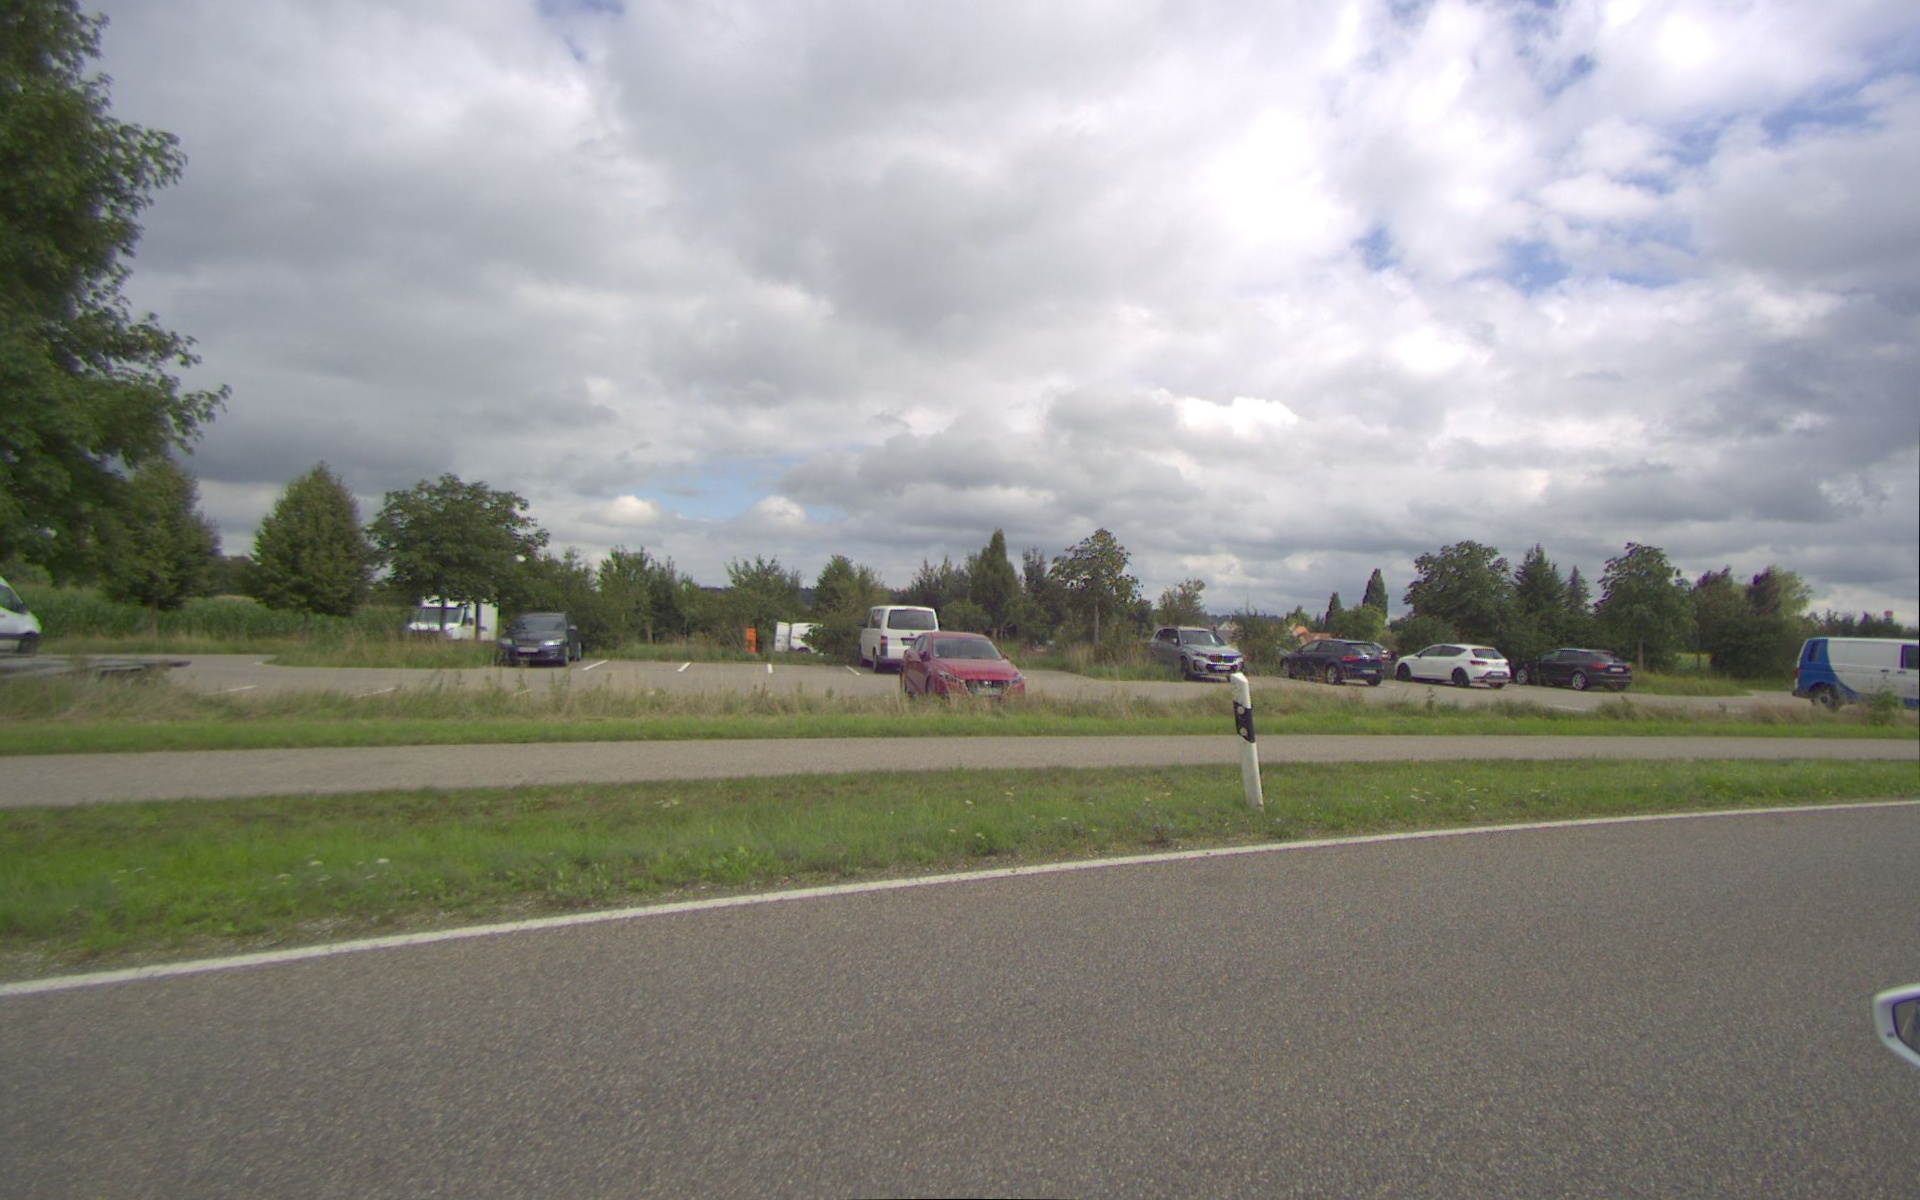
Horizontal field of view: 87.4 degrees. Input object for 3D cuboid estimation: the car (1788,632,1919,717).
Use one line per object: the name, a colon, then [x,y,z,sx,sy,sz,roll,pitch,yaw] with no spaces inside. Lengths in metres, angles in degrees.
car: [24.101,1.861,25.233,2.021,2.040,4.898,2,-2,-13]

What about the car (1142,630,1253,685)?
car: [7.532,1.803,32.301,1.931,1.572,3.991,2,-1,-12]

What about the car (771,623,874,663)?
car: [-6.121,1.939,45.100,4.364,1.644,2.000,2,-2,-2]

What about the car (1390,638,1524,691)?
car: [17.213,2.210,34.985,1.935,1.572,3.983,2,-1,-19]

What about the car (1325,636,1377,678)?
car: [15.446,2.231,39.816,1.741,1.546,3.795,1,-2,19]

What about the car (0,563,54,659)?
car: [-27.471,0.241,26.602,2.163,2.653,6.322,2,-2,-12]

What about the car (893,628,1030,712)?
car: [-0.109,1.297,19.699,1.782,1.435,4.369,2,-2,-12]

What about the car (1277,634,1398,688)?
car: [12.540,1.997,33.665,1.931,1.572,3.991,2,-1,-12]

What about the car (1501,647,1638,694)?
car: [21.789,2.502,36.073,1.814,1.406,3.983,2,-1,-19]

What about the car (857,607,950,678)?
car: [-1.841,1.245,30.953,2.026,1.951,4.684,2,-1,-13]

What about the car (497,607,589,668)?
car: [-11.643,1.038,28.295,1.763,1.545,3.989,2,-2,-14]

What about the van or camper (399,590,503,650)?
van or camper: [-22.067,0.856,43.873,2.245,2.378,6.039,2,-1,-10]
